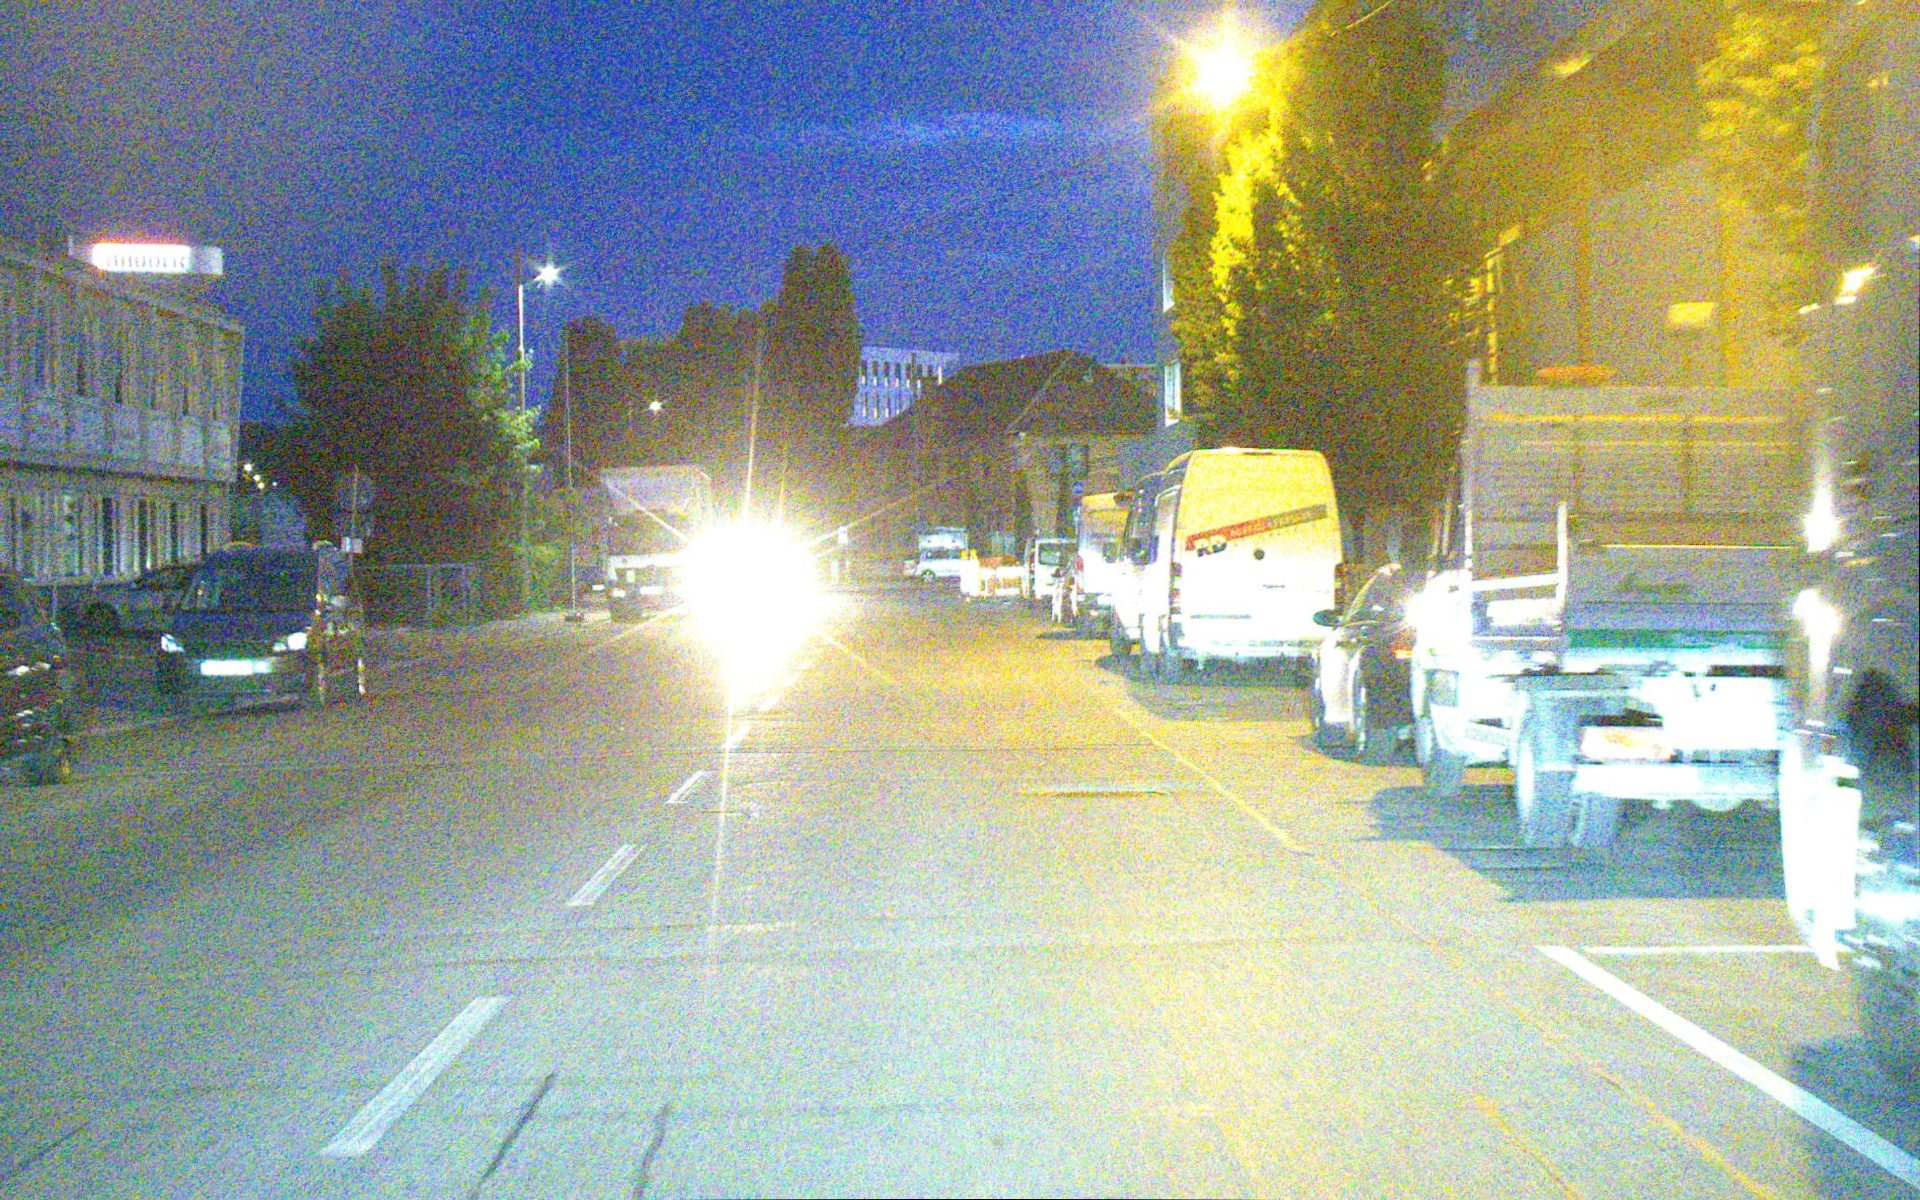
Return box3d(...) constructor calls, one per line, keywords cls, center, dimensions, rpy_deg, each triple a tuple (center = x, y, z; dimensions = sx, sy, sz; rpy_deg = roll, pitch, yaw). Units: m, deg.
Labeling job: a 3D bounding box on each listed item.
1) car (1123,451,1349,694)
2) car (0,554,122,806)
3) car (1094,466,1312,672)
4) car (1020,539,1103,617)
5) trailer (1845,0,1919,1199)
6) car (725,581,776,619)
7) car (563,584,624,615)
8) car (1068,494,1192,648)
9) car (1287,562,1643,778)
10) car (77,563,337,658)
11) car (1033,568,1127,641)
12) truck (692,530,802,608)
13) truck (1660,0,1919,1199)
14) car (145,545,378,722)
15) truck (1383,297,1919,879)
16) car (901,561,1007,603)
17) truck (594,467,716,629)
box3d(cls="car", center=(3.134, -0.321, 40.236), dimensions=(1.993, 2.562, 6.014), rpy_deg=(2, 0, -1))
box3d(cls="car", center=(-7.369, 0.537, 23.710), dimensions=(1.947, 1.682, 4.816), rpy_deg=(-1, 1, 1))
box3d(cls="car", center=(3.232, -0.424, 46.978), dimensions=(2.128, 2.562, 5.910), rpy_deg=(2, 0, -3))
box3d(cls="car", center=(2.727, -0.605, 93.187), dimensions=(1.993, 2.007, 4.912), rpy_deg=(-1, 0, -1))
box3d(cls="trailer", center=(3.686, -0.404, 1.442), dimensions=(2.765, 3.751, 14.656), rpy_deg=(1, 0, 0))
box3d(cls="car", center=(-8.130, -0.009, 133.669), dimensions=(1.857, 1.415, 4.000), rpy_deg=(-1, 0, -1))
box3d(cls="car", center=(-16.256, -0.028, 152.357), dimensions=(1.814, 1.367, 4.362), rpy_deg=(-1, 0, -18))
box3d(cls="car", center=(2.956, -0.513, 60.949), dimensions=(1.993, 2.517, 5.909), rpy_deg=(2, 0, 2))
box3d(cls="car", center=(3.651, 0.451, 25.708), dimensions=(1.829, 1.403, 4.908), rpy_deg=(2, 1, -1))
box3d(cls="car", center=(-13.561, 0.162, 61.971), dimensions=(4.132, 1.427, 1.895), rpy_deg=(4, 2, 18))
box3d(cls="car", center=(2.573, 0.071, 74.044), dimensions=(1.946, 1.484, 5.010), rpy_deg=(-1, 1, 2))
box3d(cls="truck", center=(-10.739, -1.522, 172.278), dimensions=(2.754, 3.770, 9.139), rpy_deg=(-1, 0, -21))
box3d(cls="truck", center=(3.655, -0.427, 8.414), dimensions=(2.765, 3.751, 5.228), rpy_deg=(1, 0, 0))
box3d(cls="car", center=(-7.728, 0.345, 38.407), dimensions=(1.813, 1.843, 4.415), rpy_deg=(-1, 0, -2))
box3d(cls="truck", center=(3.853, -0.088, 18.655), dimensions=(2.401, 2.585, 6.597), rpy_deg=(0, 1, 1))
box3d(cls="car", center=(-0.256, -0.805, 155.753), dimensions=(4.325, 1.640, 1.893), rpy_deg=(-4, 2, -22))
box3d(cls="truck", center=(-7.969, -1.337, 90.640), dimensions=(2.746, 4.020, 9.561), rpy_deg=(-1, 0, -3))
